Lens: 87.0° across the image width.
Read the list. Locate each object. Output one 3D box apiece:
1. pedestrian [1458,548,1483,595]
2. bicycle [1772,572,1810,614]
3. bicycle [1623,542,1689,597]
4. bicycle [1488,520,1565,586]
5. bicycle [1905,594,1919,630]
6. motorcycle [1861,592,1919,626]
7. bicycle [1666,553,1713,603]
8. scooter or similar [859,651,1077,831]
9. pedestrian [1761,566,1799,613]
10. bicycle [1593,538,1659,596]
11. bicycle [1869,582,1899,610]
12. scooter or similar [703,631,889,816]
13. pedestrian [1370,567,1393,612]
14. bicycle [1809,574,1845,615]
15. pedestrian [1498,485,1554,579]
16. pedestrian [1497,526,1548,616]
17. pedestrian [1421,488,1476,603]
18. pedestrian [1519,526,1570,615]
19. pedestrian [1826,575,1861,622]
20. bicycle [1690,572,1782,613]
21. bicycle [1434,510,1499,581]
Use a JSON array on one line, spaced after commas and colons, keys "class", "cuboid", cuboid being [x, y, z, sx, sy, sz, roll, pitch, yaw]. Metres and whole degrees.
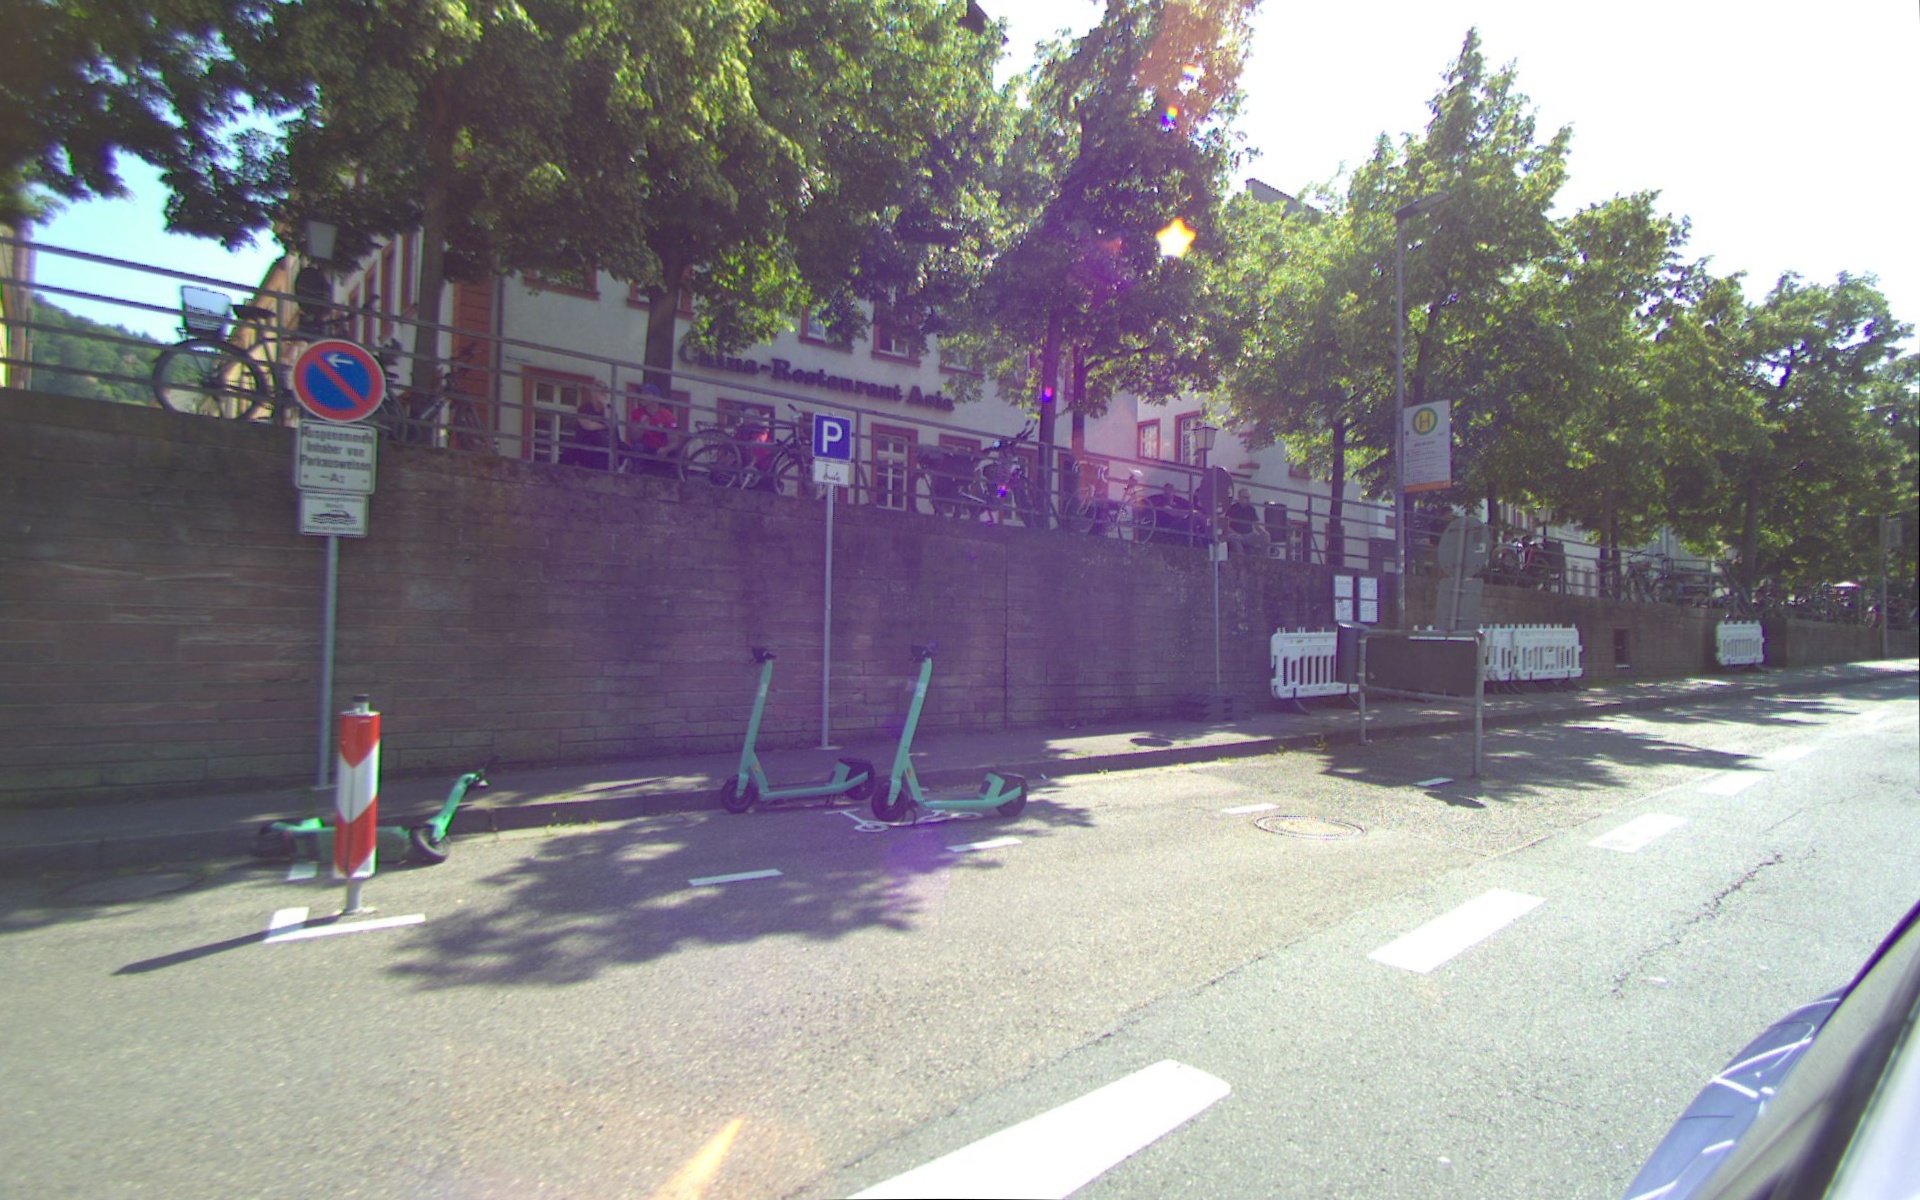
[{"class": "pedestrian", "cuboid": [17.331, -0.950, 34.359, 0.596, 1.565, 0.469, 1, -3, -34]}, {"class": "bicycle", "cuboid": [21.349, -0.165, 25.991, 1.825, 1.017, 0.299, 2, -1, -36]}, {"class": "bicycle", "cuboid": [14.971, -0.633, 21.762, 1.885, 1.120, 0.411, 1, -1, -30]}, {"class": "bicycle", "cuboid": [10.323, -0.841, 18.411, 1.700, 1.120, 0.412, 1, 0, -30]}, {"class": "bicycle", "cuboid": [30.698, 0.385, 32.245, 1.880, 1.126, 0.345, 1, -1, -31]}, {"class": "motorcycle", "cuboid": [31.823, 0.312, 34.261, 0.565, 1.112, 1.918, 1, 0, -42]}, {"class": "bicycle", "cuboid": [18.163, -0.528, 25.180, 1.897, 1.155, 0.383, 2, -1, -36]}, {"class": "scooter or similar", "cuboid": [0.066, 0.923, 6.999, 1.409, 1.103, 0.534, 1, -1, -26]}, {"class": "pedestrian", "cuboid": [22.946, -0.294, 28.311, 0.657, 1.281, 0.696, 1, -1, -39]}, {"class": "bicycle", "cuboid": [13.662, -0.658, 20.737, 1.700, 1.120, 0.411, 1, -1, -30]}, {"class": "bicycle", "cuboid": [27.450, -0.107, 30.061, 1.883, 0.794, 0.350, 2, -1, -37]}, {"class": "scooter or similar", "cuboid": [-1.196, 0.856, 7.373, 1.244, 1.246, 0.534, 1, -1, -21]}, {"class": "pedestrian", "cuboid": [14.471, -0.345, 34.747, 0.321, 1.497, 0.345, -18, 7, -32]}, {"class": "bicycle", "cuboid": [23.168, -0.133, 27.045, 1.904, 1.017, 0.299, 2, -1, -36]}, {"class": "pedestrian", "cuboid": [10.914, -1.287, 19.517, 0.698, 1.743, 0.721, 1, -1, -35]}, {"class": "pedestrian", "cuboid": [11.195, -0.564, 20.154, 0.562, 1.743, 0.721, 1, -1, -35]}, {"class": "pedestrian", "cuboid": [9.709, -1.063, 20.112, 0.698, 2.217, 0.721, 1, -1, -35]}, {"class": "pedestrian", "cuboid": [11.779, -0.583, 20.388, 0.562, 1.743, 0.721, 1, -1, -35]}, {"class": "pedestrian", "cuboid": [26.919, -0.039, 30.847, 0.683, 1.433, 0.669, 1, -1, -36]}, {"class": "bicycle", "cuboid": [19.743, -0.192, 25.788, 0.293, 1.017, 1.859, 2, -1, -37]}, {"class": "bicycle", "cuboid": [8.700, -0.905, 17.351, 1.705, 1.120, 0.410, 1, 0, -43]}]
